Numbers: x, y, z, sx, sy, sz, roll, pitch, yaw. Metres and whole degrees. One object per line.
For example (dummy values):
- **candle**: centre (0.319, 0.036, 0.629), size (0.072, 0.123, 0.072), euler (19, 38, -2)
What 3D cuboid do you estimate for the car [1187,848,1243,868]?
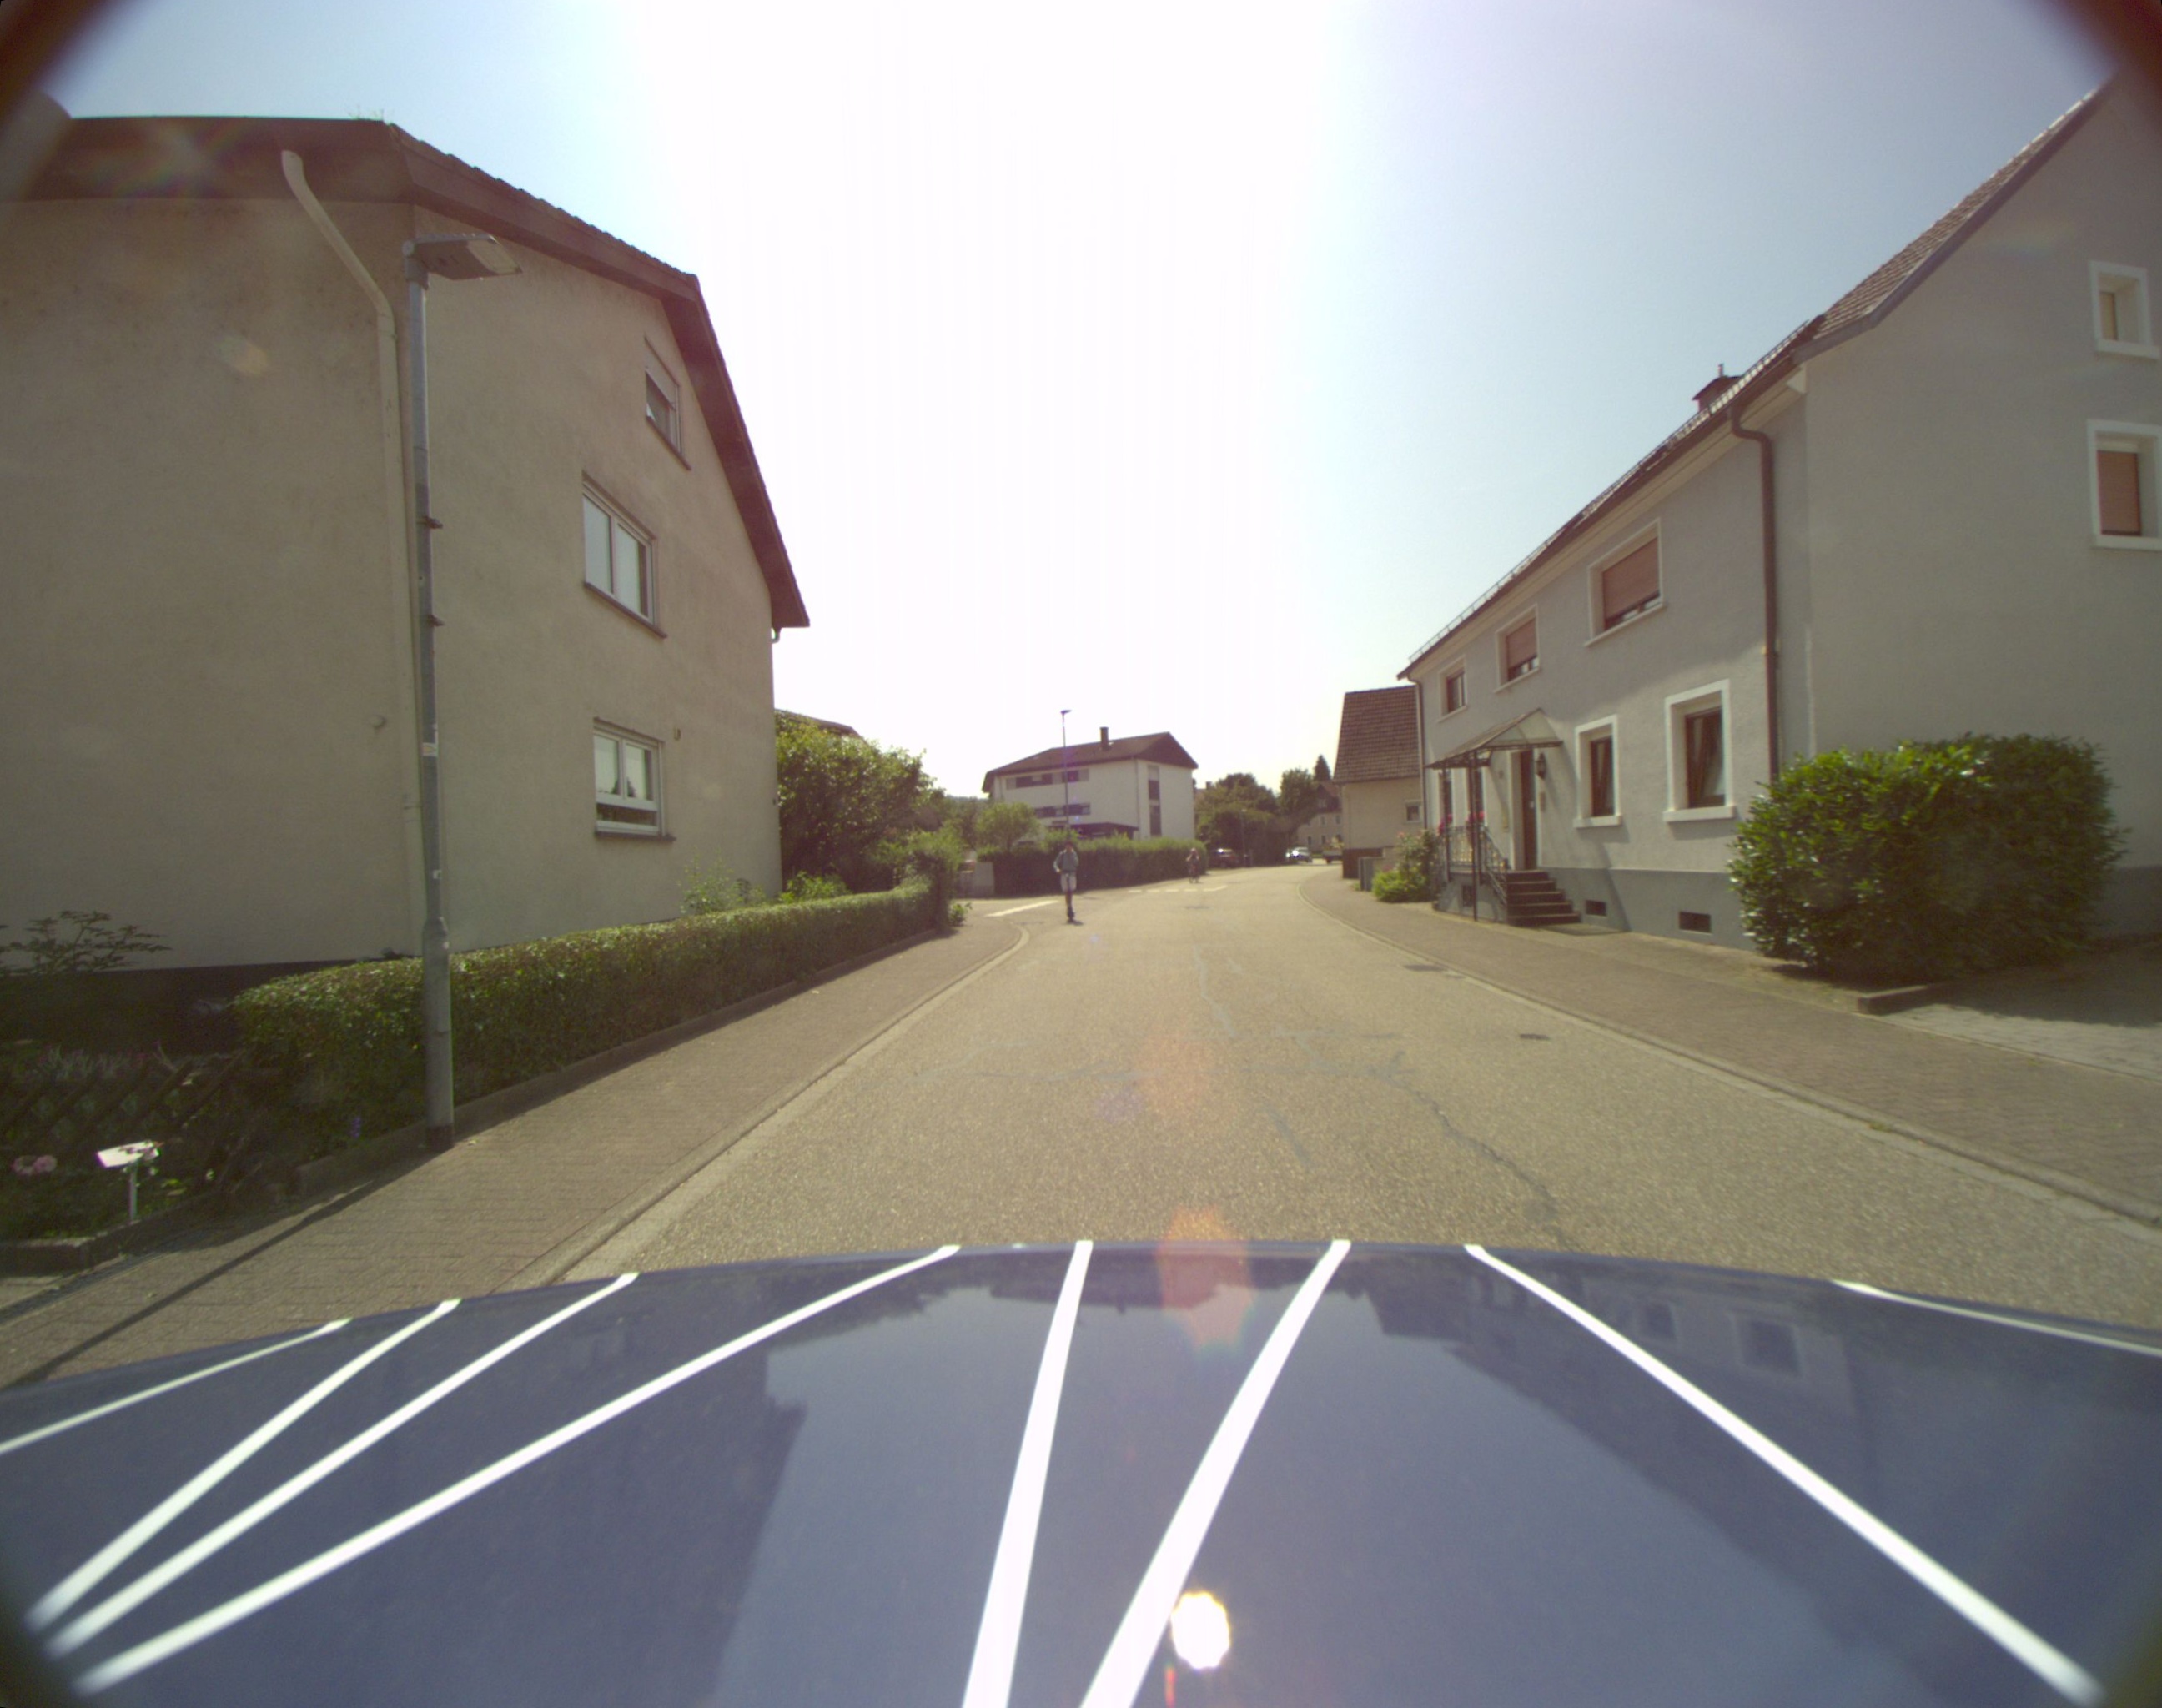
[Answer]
- **car**: centre (11.326, 0.354, 64.198), size (4.281, 1.662, 2.069), euler (-1, 1, 27)

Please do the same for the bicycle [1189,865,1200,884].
- **bicycle**: centre (5.598, 0.996, 37.381), size (0.521, 0.898, 1.314), euler (-2, 0, 9)

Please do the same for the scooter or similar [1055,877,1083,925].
- **scooter or similar**: centre (-0.291, 1.106, 18.013), size (0.543, 1.083, 0.691), euler (-2, 1, -7)

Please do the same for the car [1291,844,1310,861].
- **car**: centre (23.900, -0.177, 82.534), size (1.779, 1.830, 3.906), euler (-1, 0, 19)

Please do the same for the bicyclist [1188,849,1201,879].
- **bicyclist**: centre (5.602, 0.486, 37.504), size (0.547, 1.481, 0.797), euler (-2, 1, 9)

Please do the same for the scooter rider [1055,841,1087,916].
- **scooter rider**: centre (-0.242, 0.568, 17.999), size (0.617, 1.714, 0.640), euler (-2, 1, -7)

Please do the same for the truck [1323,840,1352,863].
- **truck**: centre (25.830, -0.291, 76.385), size (2.263, 2.122, 6.775), euler (-1, 0, 22)
